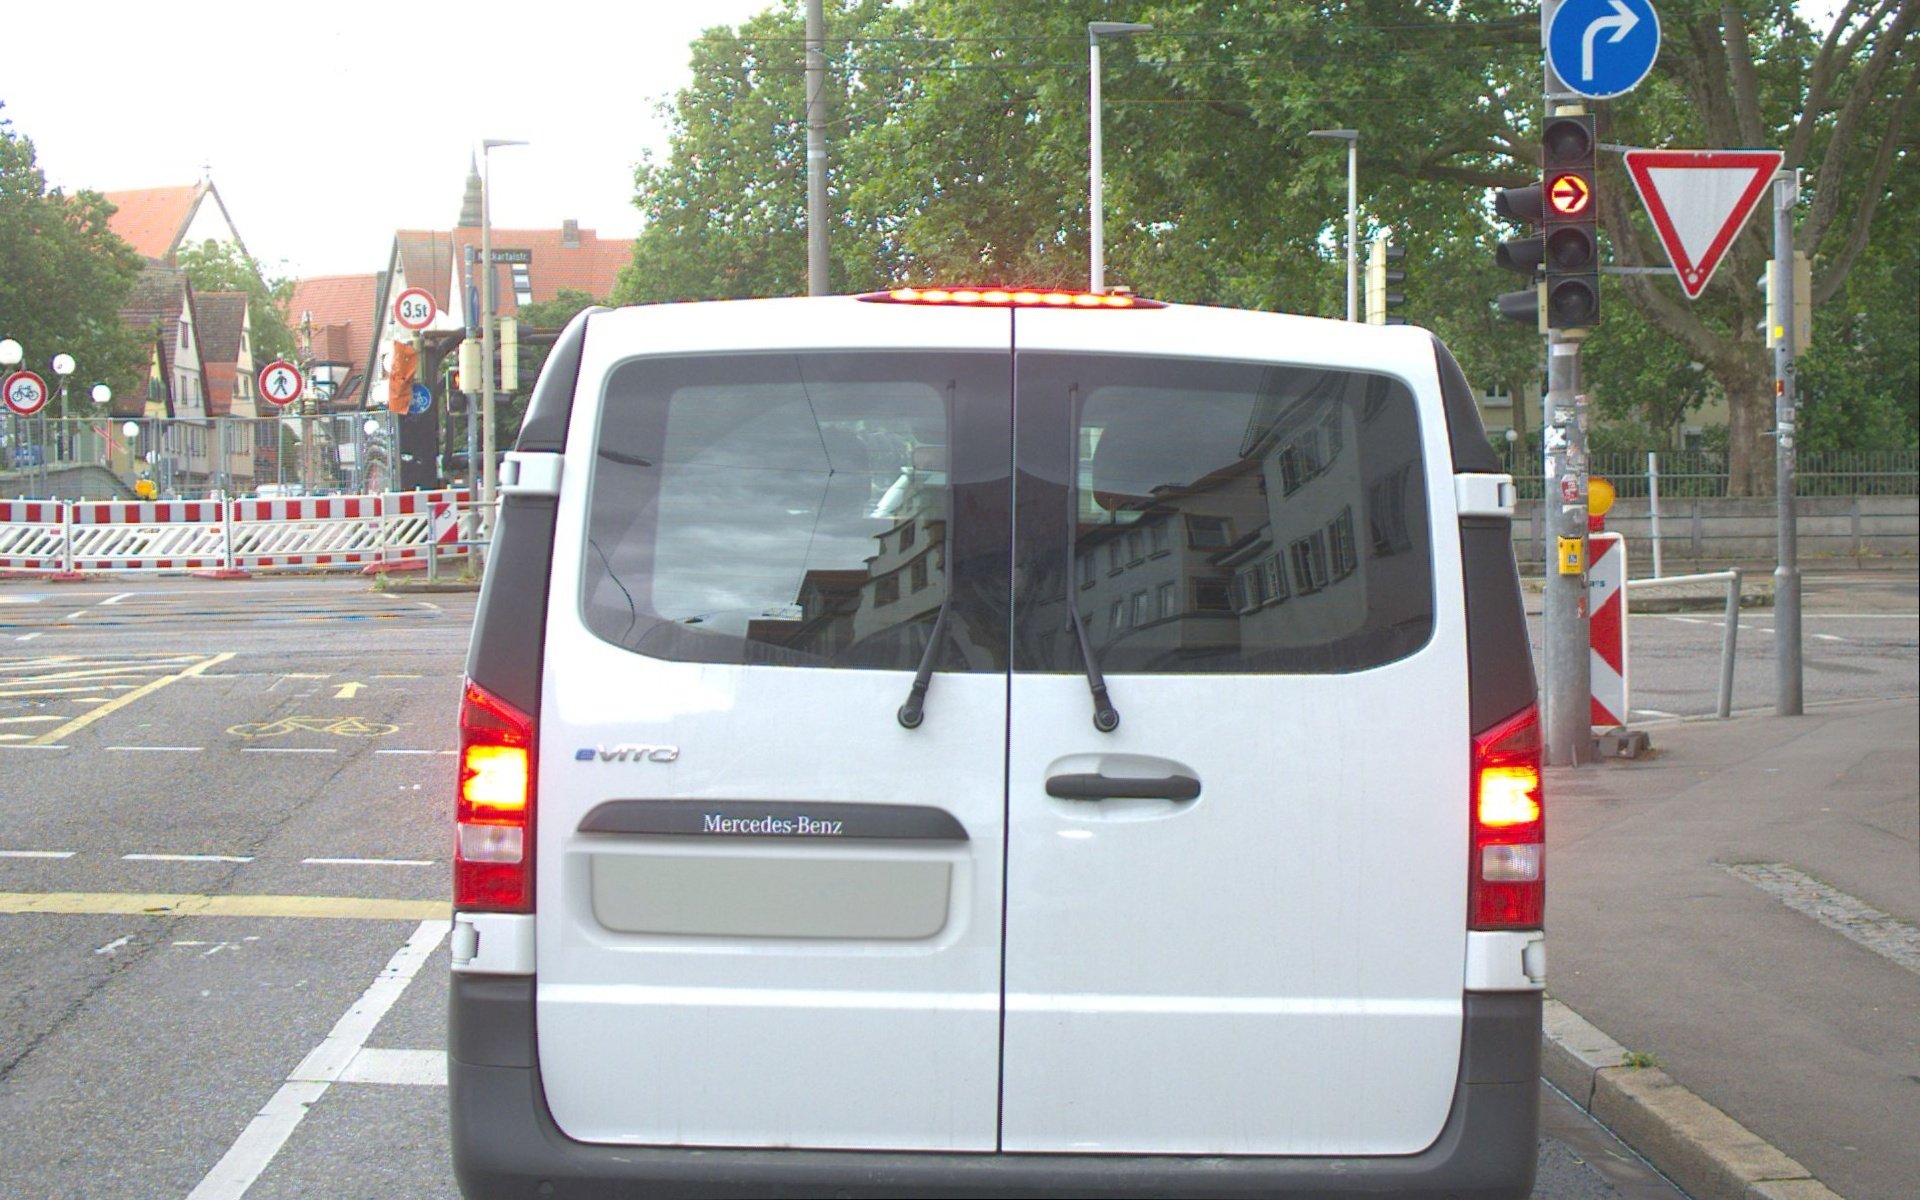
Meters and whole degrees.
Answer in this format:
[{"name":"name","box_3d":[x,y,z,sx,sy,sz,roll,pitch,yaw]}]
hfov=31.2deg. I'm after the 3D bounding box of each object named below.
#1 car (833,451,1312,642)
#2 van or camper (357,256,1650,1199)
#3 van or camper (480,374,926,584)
[{"name":"car","box_3d":[0.910,-0.459,27.956,3.744,1.423,1.828,-1,3,2]},{"name":"van or camper","box_3d":[-0.073,0.347,7.426,1.937,1.918,4.442,1,3,-4]},{"name":"van or camper","box_3d":[-3.263,-1.473,43.182,5.390,2.505,2.037,0,0,-11]}]
